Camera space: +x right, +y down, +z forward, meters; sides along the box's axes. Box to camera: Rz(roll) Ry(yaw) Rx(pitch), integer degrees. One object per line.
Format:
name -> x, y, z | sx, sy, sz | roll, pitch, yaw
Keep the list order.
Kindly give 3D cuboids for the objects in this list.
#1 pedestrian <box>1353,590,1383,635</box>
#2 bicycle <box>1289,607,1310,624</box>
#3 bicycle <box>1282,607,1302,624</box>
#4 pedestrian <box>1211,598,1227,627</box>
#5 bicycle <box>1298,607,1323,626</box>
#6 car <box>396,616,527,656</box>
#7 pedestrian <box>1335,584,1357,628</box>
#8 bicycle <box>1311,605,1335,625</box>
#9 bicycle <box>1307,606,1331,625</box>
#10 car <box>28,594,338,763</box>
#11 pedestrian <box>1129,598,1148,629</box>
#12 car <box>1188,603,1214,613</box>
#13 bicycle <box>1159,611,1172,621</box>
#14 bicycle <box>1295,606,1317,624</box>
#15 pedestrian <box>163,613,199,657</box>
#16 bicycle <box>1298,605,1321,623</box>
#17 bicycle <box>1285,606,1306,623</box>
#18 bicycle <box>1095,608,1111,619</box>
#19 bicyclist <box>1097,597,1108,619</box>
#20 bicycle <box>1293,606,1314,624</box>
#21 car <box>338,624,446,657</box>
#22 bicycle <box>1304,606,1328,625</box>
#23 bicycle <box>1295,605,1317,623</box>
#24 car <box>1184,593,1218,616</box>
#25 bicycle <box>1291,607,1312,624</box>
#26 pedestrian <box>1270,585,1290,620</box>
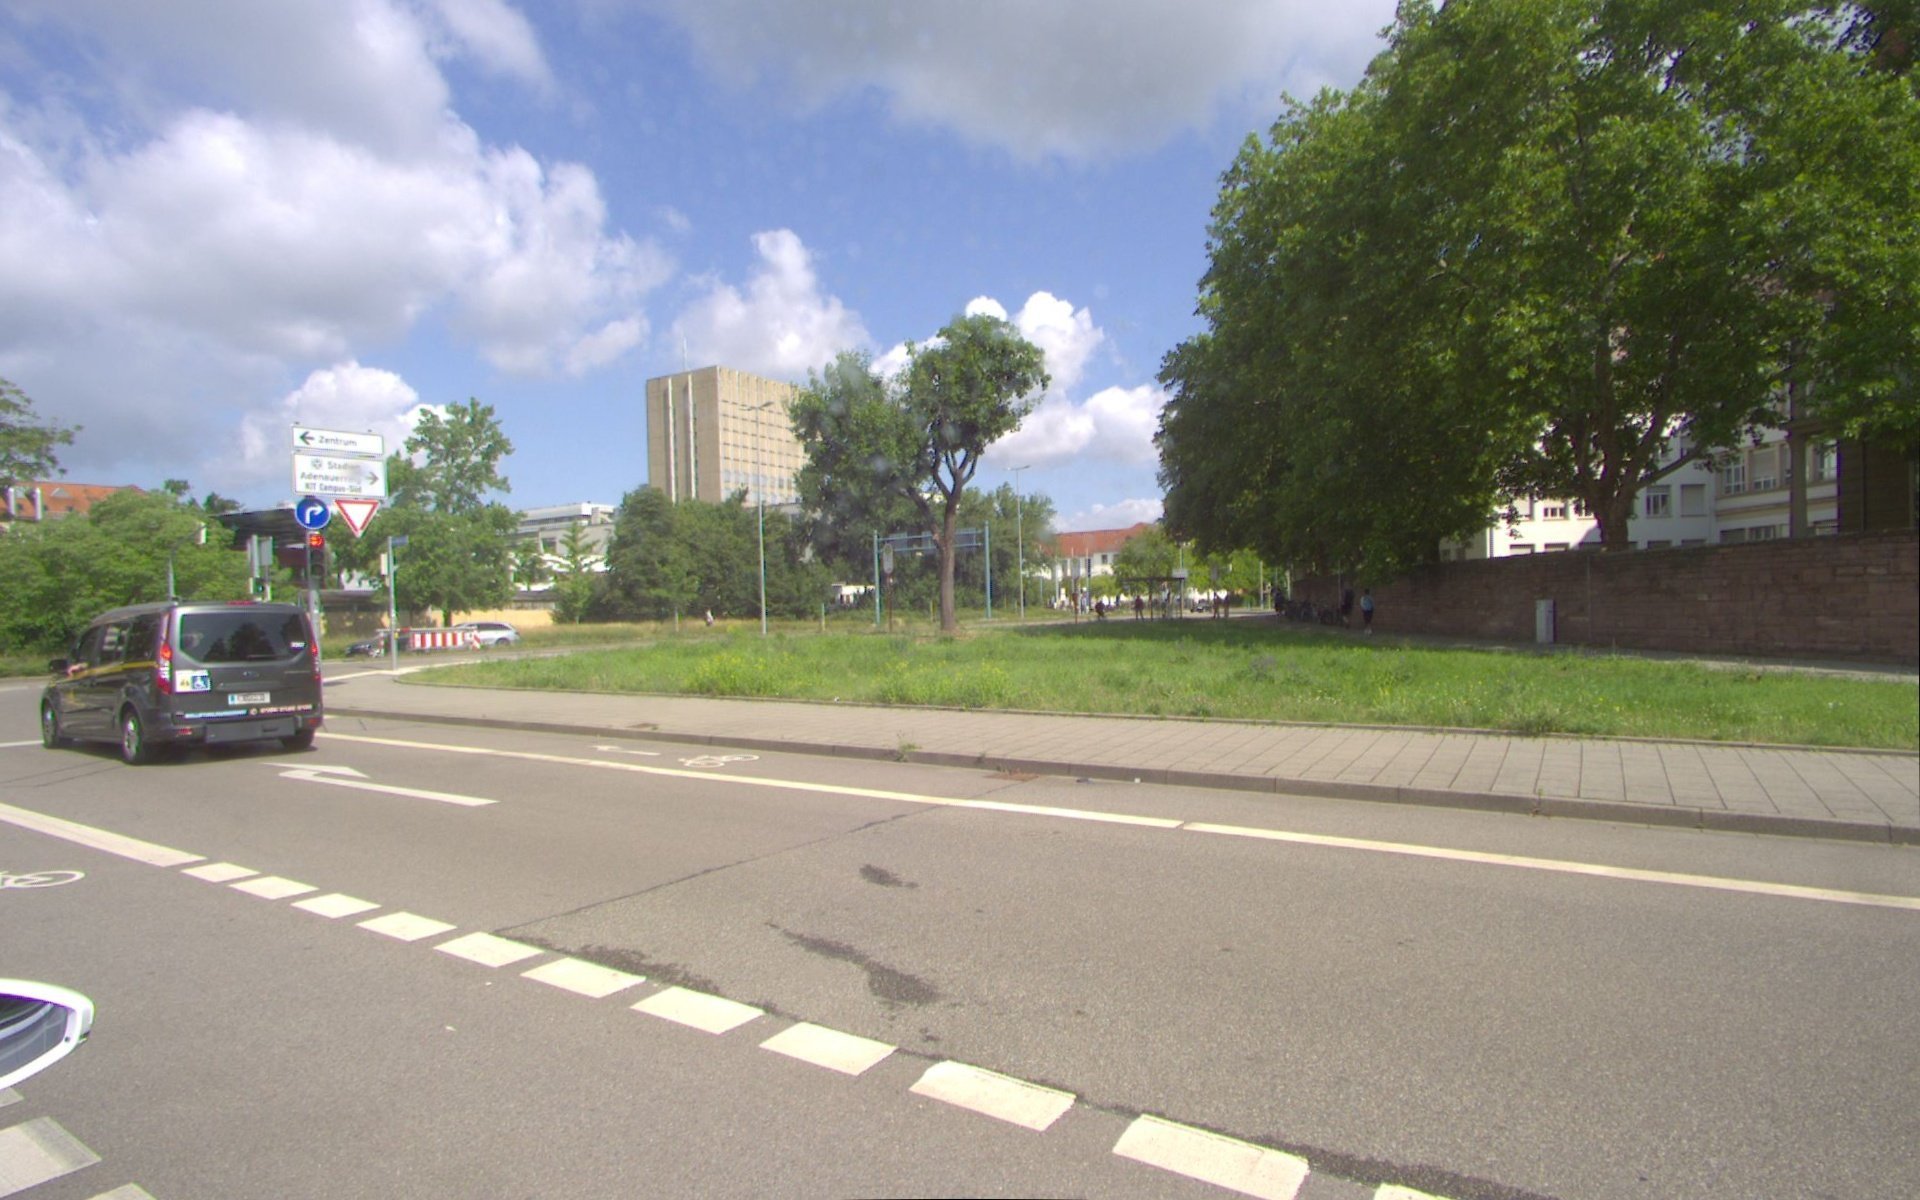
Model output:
pedestrian -> 14.443, 0.444, 35.500 | 0.712, 1.554, 0.724 | -2, 0, -1
bicycle -> 17.449, 0.797, 51.493 | 0.955, 0.860, 0.482 | -1, 1, 11
bicycle -> 18.032, 0.833, 54.354 | 0.955, 0.860, 0.482 | -1, 1, 11
pedestrian -> 16.303, 0.802, 62.955 | 0.739, 1.803, 0.766 | -2, 0, 33
bicycle -> 16.649, 0.775, 47.561 | 1.053, 0.860, 0.499 | -1, 1, 11
car -> -21.911, 1.561, 44.213 | 2.037, 1.460, 4.746 | -4, -2, 37
pedestrian -> 15.342, 0.240, 39.838 | 0.651, 1.746, 0.742 | -1, 1, 11
bicycle -> 16.143, 0.652, 44.543 | 0.955, 0.860, 0.482 | -1, 1, 11
bicycle -> 16.199, 0.698, 45.226 | 0.955, 0.860, 0.482 | -1, 1, 11
car -> -9.988, 0.894, 12.765 | 4.608, 1.808, 1.844 | -1, -1, 35
pedestrian -> 10.766, 0.806, 60.414 | 0.739, 1.803, 0.960 | -2, 0, 33
car -> 31.127, 1.004, 129.475 | 1.775, 1.290, 3.970 | 1, 1, 39
bicycle -> 16.128, 1.268, 78.439 | 0.541, 0.707, 1.584 | -1, 0, 28
bicycle -> 17.140, 0.728, 49.632 | 0.955, 0.860, 0.482 | -1, 1, 11
pedestrian -> -34.249, 1.531, 44.024 | 1.161, 1.882, 0.697 | -2, 1, 22
bicycle -> 16.884, 0.682, 48.355 | 0.955, 0.860, 0.482 | -1, 1, 11
bicycle -> 17.706, 0.778, 52.828 | 0.955, 0.860, 0.482 | -1, 1, 11
bicycle -> 9.708, 0.903, 68.018 | 0.541, 0.707, 1.584 | -1, 0, 27
bicyclist -> 9.676, 0.548, 67.974 | 0.552, 1.433, 0.604 | -1, 1, 28
bicycle -> 17.255, 0.753, 50.301 | 0.955, 0.860, 0.482 | -1, 1, 11
car -> -27.501, 1.942, 48.585 | 1.973, 1.395, 4.135 | -1, 0, 34
bicycle -> 16.309, 0.699, 45.854 | 0.955, 0.860, 0.482 | -1, 1, 11
bicycle -> 16.979, 0.707, 49.088 | 0.955, 0.860, 0.482 | -1, 1, 11
car -> 22.882, 0.430, 94.905 | 1.972, 2.040, 3.978 | -1, 1, 32
bicycle -> 17.362, 0.777, 50.944 | 0.955, 0.860, 0.482 | -1, 1, 11
pedestrian -> 16.654, 0.135, 52.126 | 0.870, 1.804, 0.770 | -1, 1, 9
